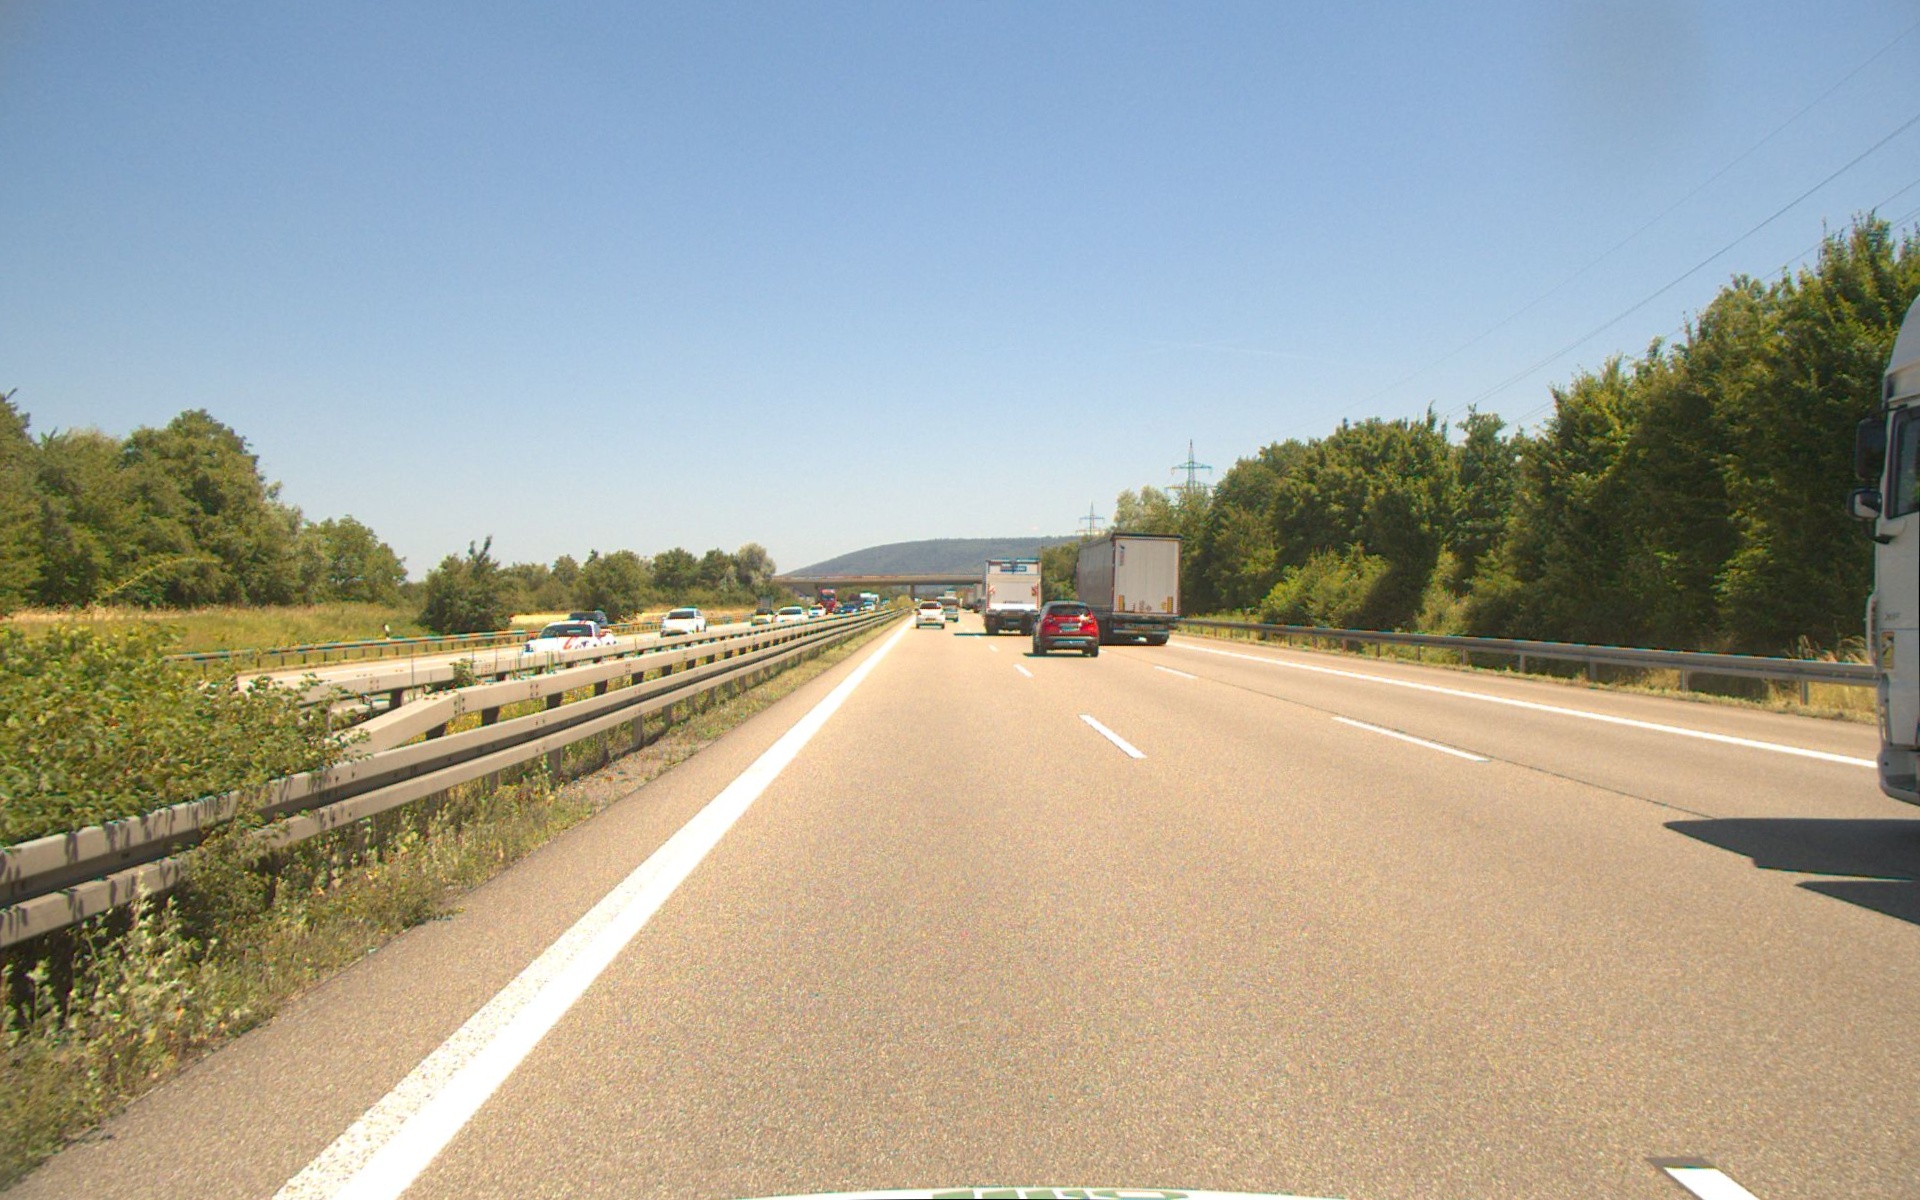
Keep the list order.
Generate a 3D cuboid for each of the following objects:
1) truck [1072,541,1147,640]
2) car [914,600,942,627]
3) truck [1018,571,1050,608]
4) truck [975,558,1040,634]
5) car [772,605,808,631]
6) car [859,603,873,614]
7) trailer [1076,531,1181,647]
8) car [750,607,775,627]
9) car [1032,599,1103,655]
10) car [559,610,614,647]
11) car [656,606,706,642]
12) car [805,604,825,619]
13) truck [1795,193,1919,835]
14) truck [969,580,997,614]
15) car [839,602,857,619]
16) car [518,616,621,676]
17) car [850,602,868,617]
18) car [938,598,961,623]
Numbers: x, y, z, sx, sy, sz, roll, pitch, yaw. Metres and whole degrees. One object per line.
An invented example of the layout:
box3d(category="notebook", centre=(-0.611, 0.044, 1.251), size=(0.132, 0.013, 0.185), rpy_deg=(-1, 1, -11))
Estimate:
box3d(category="truck", centre=(6.610, -0.387, 73.945), size=(2.738, 4.237, 5.721), rpy_deg=(0, 0, -1))
box3d(category="car", centre=(-1.855, 0.746, 95.745), size=(1.574, 1.493, 3.999), rpy_deg=(-1, 0, -1))
box3d(category="truck", centre=(6.761, -0.951, 152.079), size=(2.176, 3.265, 10.382), rpy_deg=(-1, 0, -1))
box3d(category="truck", centre=(2.205, -0.162, 79.681), size=(2.726, 3.432, 8.125), rpy_deg=(1, 0, -1))
box3d(category="car", centre=(-10.458, 1.087, 101.996), size=(1.758, 1.518, 4.237), rpy_deg=(-2, 0, -1))
box3d(category="car", centre=(-13.693, 1.179, 241.381), size=(1.772, 1.563, 3.960), rpy_deg=(-2, 0, -2))
box3d(category="trailer", centre=(6.665, -0.394, 67.453), size=(2.732, 4.237, 13.572), rpy_deg=(0, 0, -1))
box3d(category="car", centre=(-15.386, 1.310, 129.081), size=(1.550, 1.453, 3.476), rpy_deg=(-2, 0, -1))
box3d(category="car", centre=(3.119, 0.775, 48.659), size=(1.766, 1.572, 3.999), rpy_deg=(0, 0, -1))
box3d(category="car", centre=(-17.555, 1.313, 77.809), size=(1.698, 1.621, 3.901), rpy_deg=(-2, 0, -1))
box3d(category="car", centre=(-13.772, 1.160, 81.728), size=(1.798, 1.613, 3.888), rpy_deg=(-2, 0, -1))
box3d(category="car", centre=(-15.734, 1.244, 179.963), size=(1.841, 1.593, 4.191), rpy_deg=(-2, 0, -1))
box3d(category="truck", centre=(7.635, -0.558, 9.327), size=(2.680, 4.192, 6.123), rpy_deg=(0, 0, -1))
box3d(category="truck", centre=(3.167, -0.423, 231.077), size=(3.449, 4.493, 14.588), rpy_deg=(-1, 0, -1))
box3d(category="car", centre=(-12.085, 1.091, 178.216), size=(1.731, 1.781, 3.985), rpy_deg=(-2, 0, -1))
box3d(category="car", centre=(-9.841, 1.125, 42.004), size=(1.654, 1.337, 4.083), rpy_deg=(-3, 0, -1))
box3d(category="car", centre=(-12.369, 1.107, 202.562), size=(1.919, 1.803, 4.442), rpy_deg=(-1, 0, -1))
box3d(category="car", centre=(-0.829, 0.807, 127.493), size=(1.725, 1.883, 3.999), rpy_deg=(-1, 0, -1))
